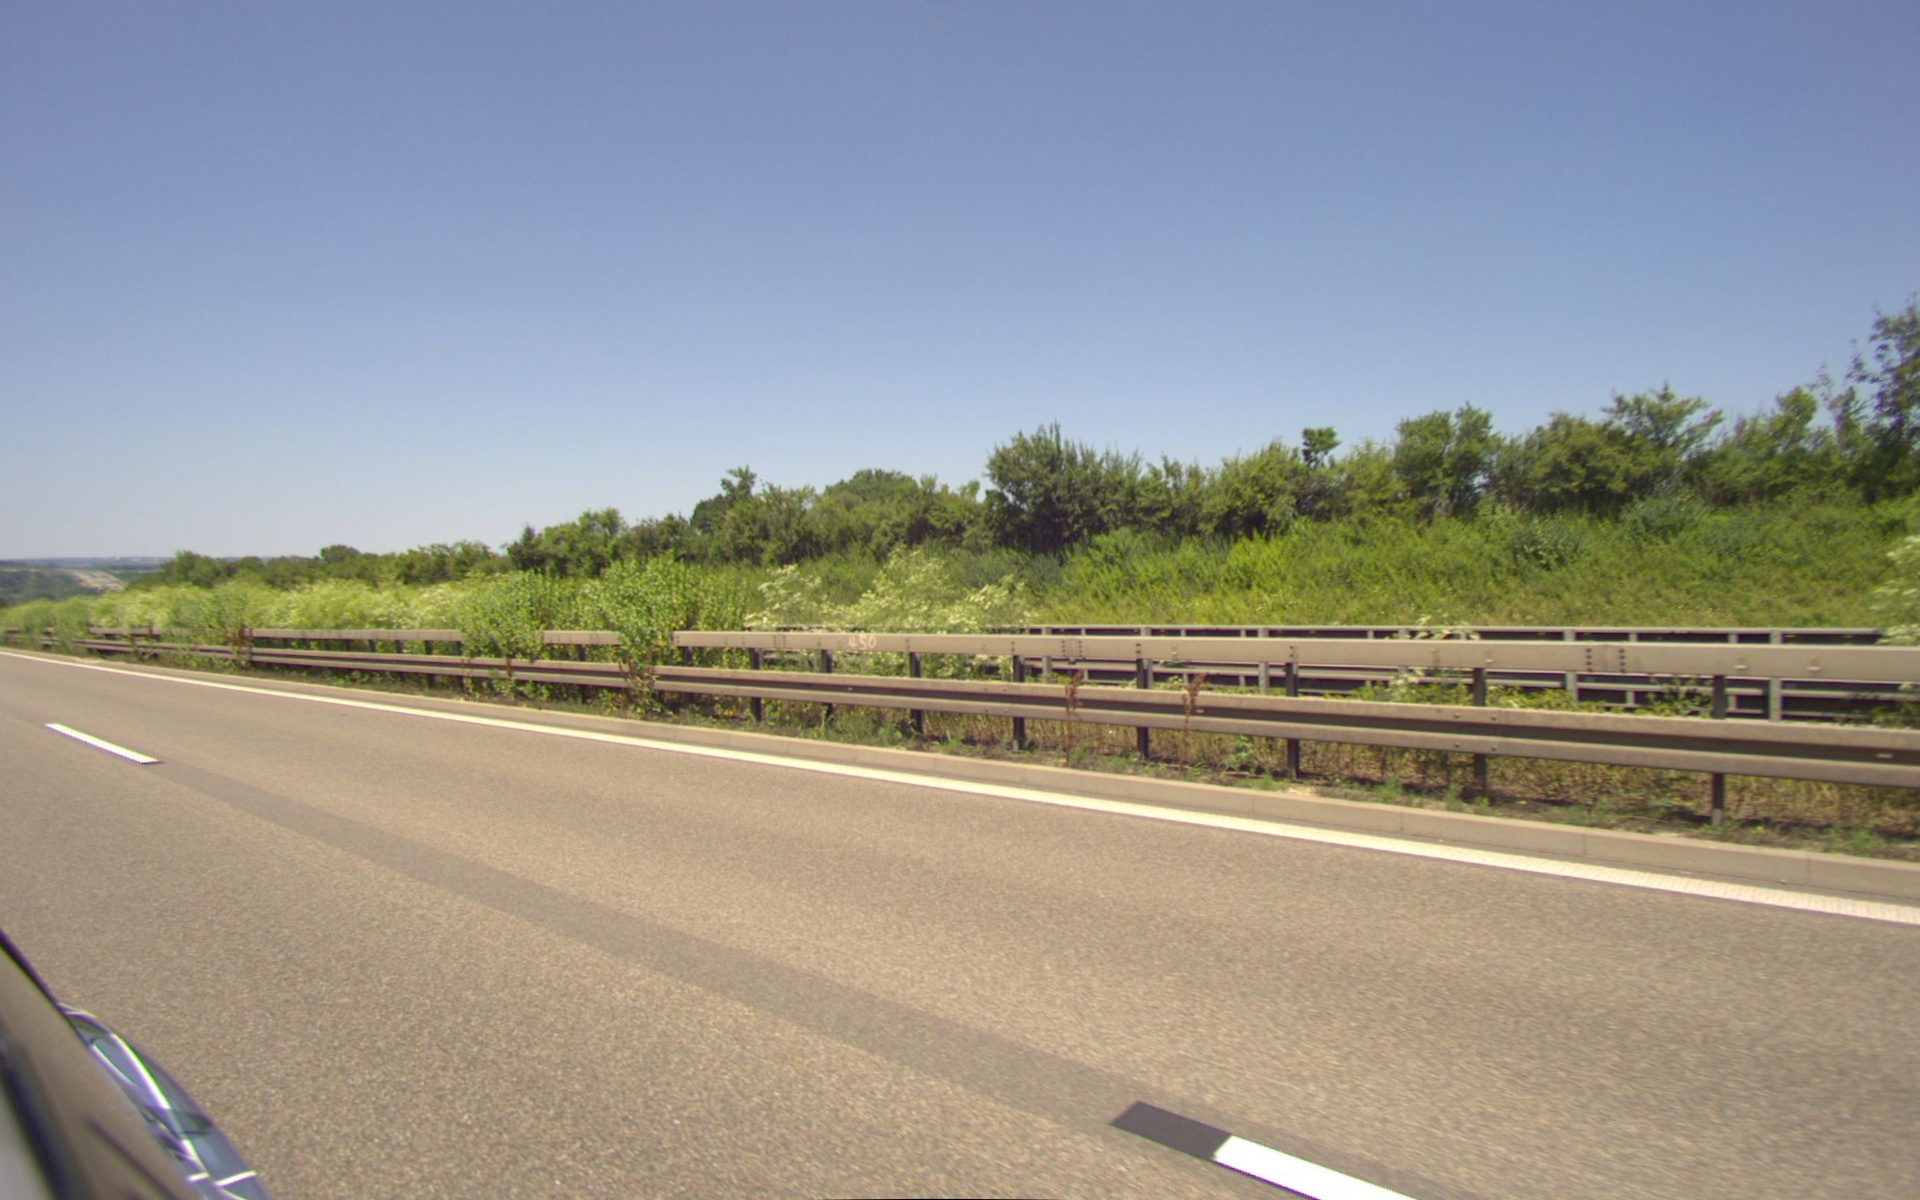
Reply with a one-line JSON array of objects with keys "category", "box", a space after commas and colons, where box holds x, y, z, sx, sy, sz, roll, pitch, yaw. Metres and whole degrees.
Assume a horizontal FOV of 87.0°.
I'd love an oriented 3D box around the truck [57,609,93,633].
[{"category": "truck", "box": [-137.772, 3.313, 157.436, 17.040, 3.545, 2.644, -2, -1, 43]}]
